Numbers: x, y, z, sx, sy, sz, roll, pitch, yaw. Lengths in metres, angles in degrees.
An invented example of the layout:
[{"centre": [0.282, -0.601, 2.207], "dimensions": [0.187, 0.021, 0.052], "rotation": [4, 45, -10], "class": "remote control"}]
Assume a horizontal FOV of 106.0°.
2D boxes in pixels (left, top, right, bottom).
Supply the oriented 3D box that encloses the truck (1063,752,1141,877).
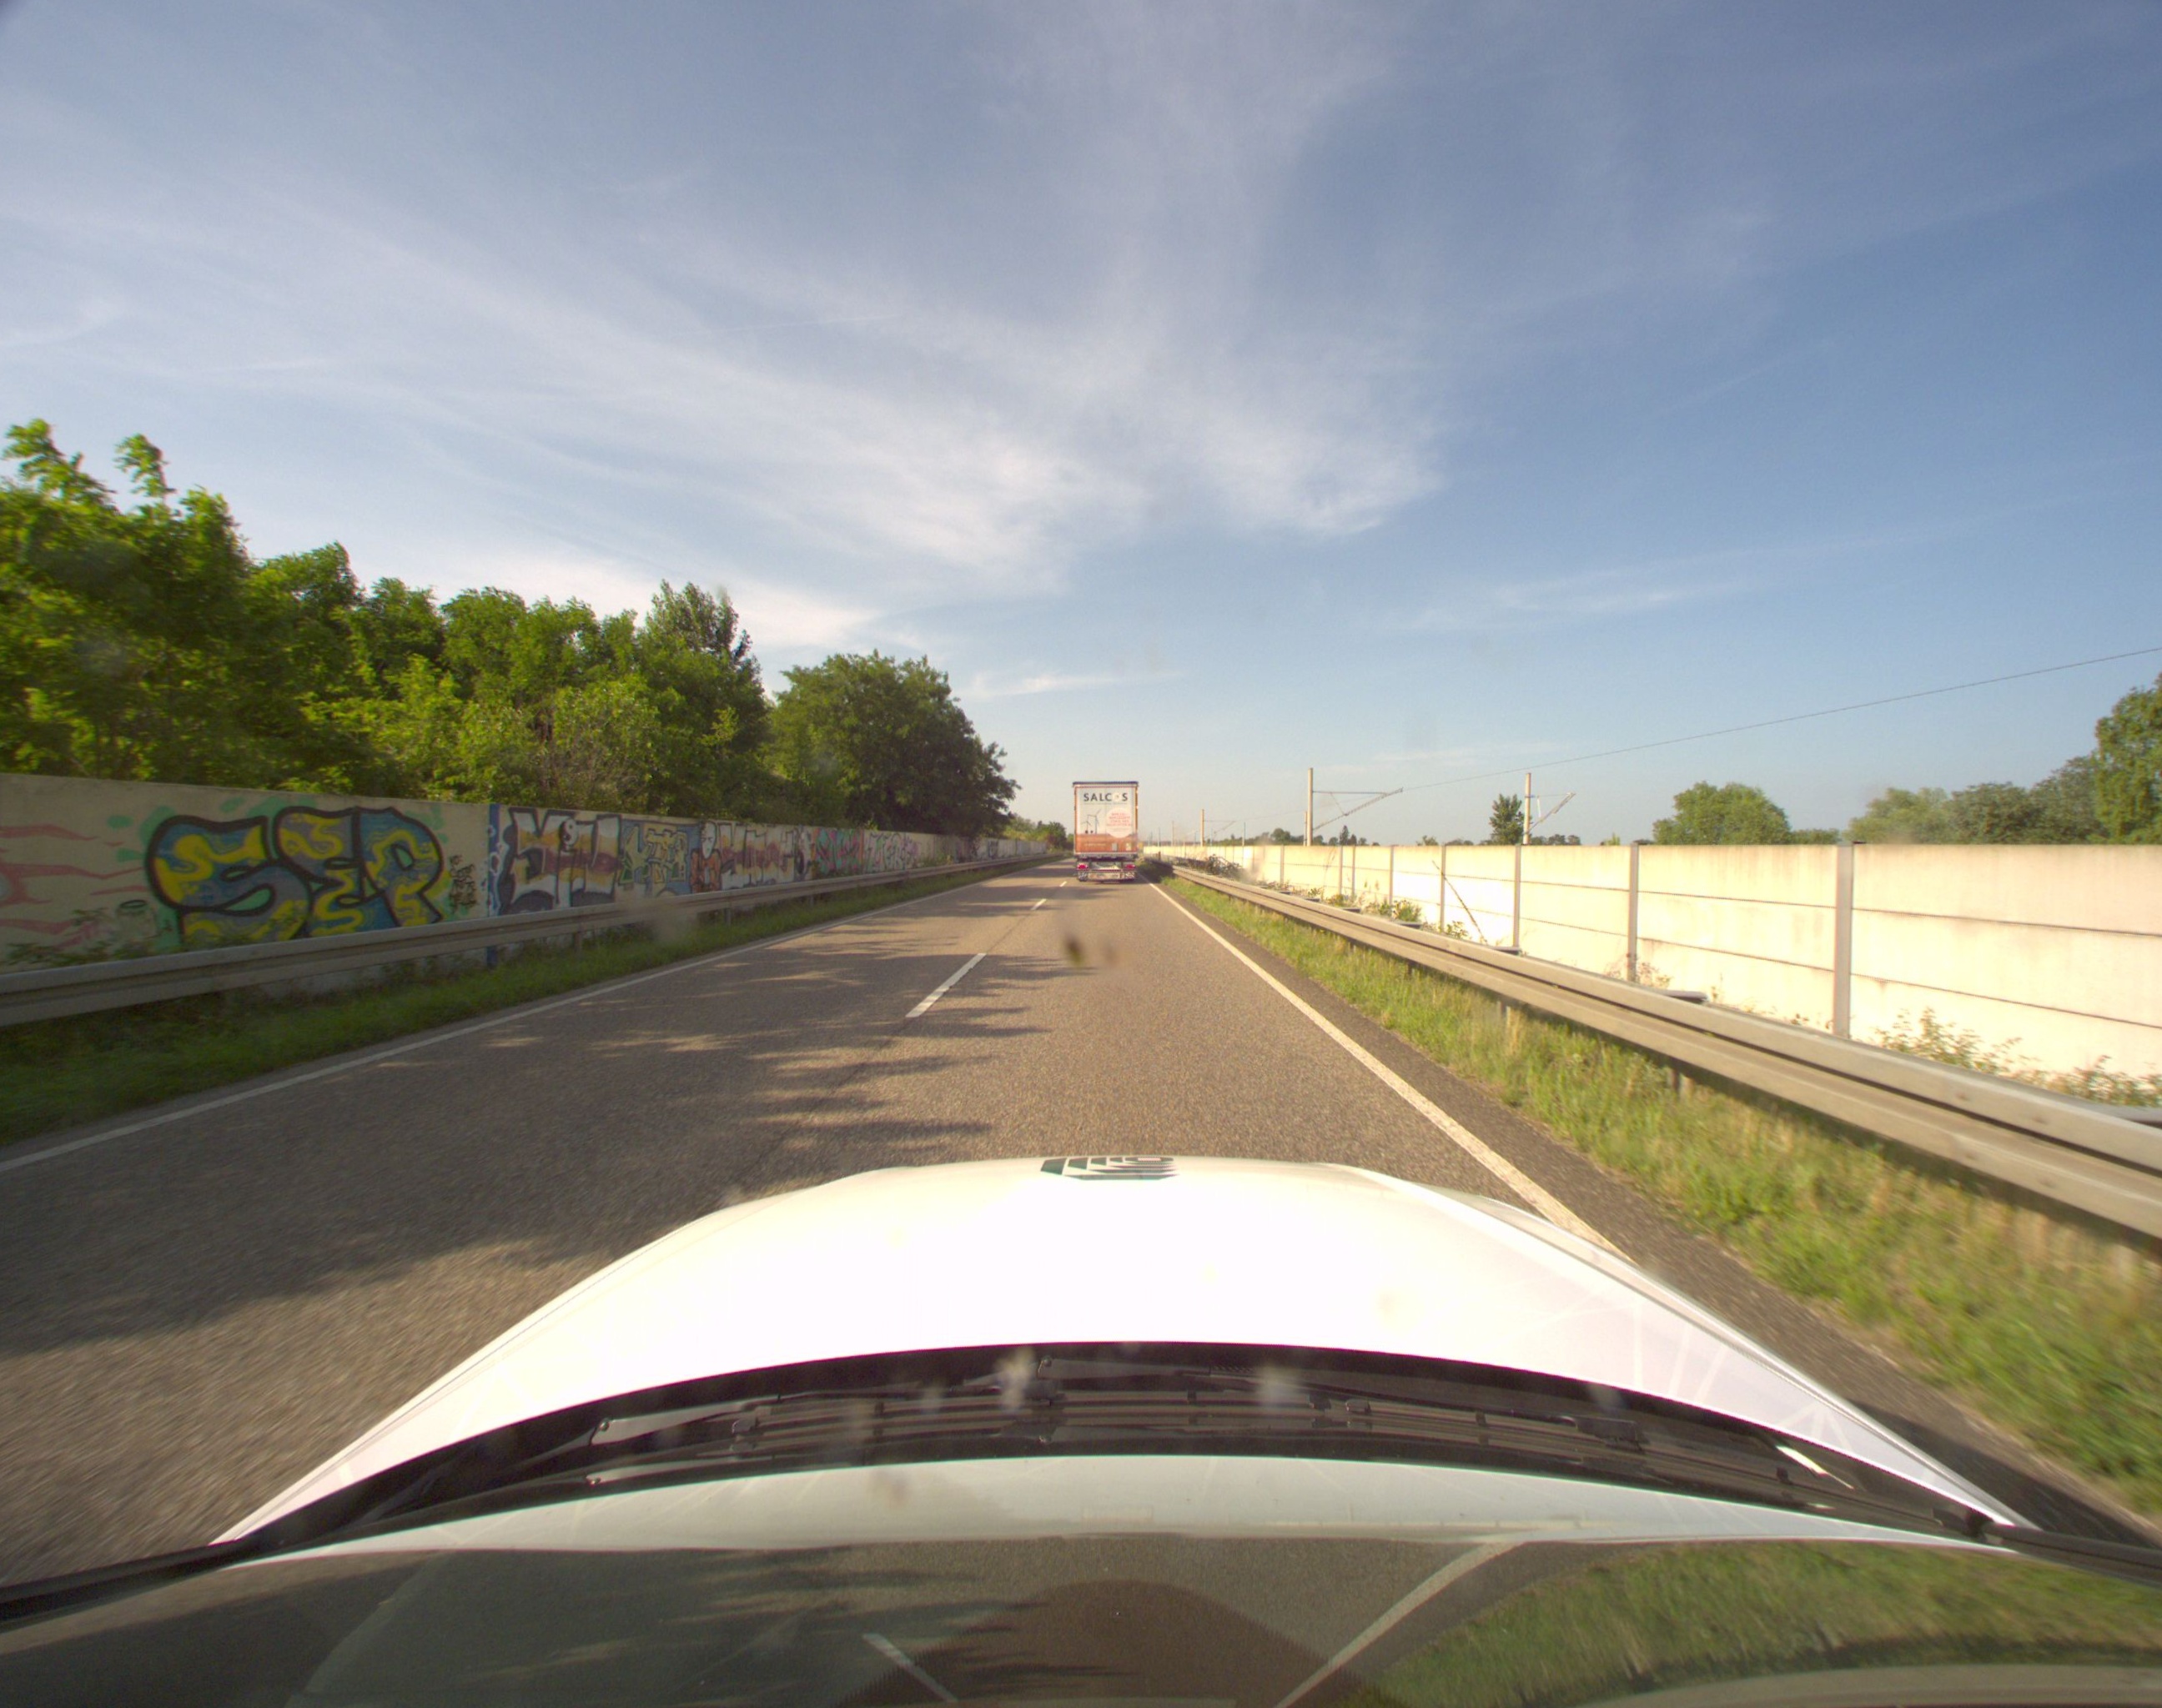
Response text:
[{"centre": [0.973, -1.678, 38.098], "dimensions": [3.022, 4.920, 11.688], "rotation": [-1, 1, 1], "class": "truck"}]
